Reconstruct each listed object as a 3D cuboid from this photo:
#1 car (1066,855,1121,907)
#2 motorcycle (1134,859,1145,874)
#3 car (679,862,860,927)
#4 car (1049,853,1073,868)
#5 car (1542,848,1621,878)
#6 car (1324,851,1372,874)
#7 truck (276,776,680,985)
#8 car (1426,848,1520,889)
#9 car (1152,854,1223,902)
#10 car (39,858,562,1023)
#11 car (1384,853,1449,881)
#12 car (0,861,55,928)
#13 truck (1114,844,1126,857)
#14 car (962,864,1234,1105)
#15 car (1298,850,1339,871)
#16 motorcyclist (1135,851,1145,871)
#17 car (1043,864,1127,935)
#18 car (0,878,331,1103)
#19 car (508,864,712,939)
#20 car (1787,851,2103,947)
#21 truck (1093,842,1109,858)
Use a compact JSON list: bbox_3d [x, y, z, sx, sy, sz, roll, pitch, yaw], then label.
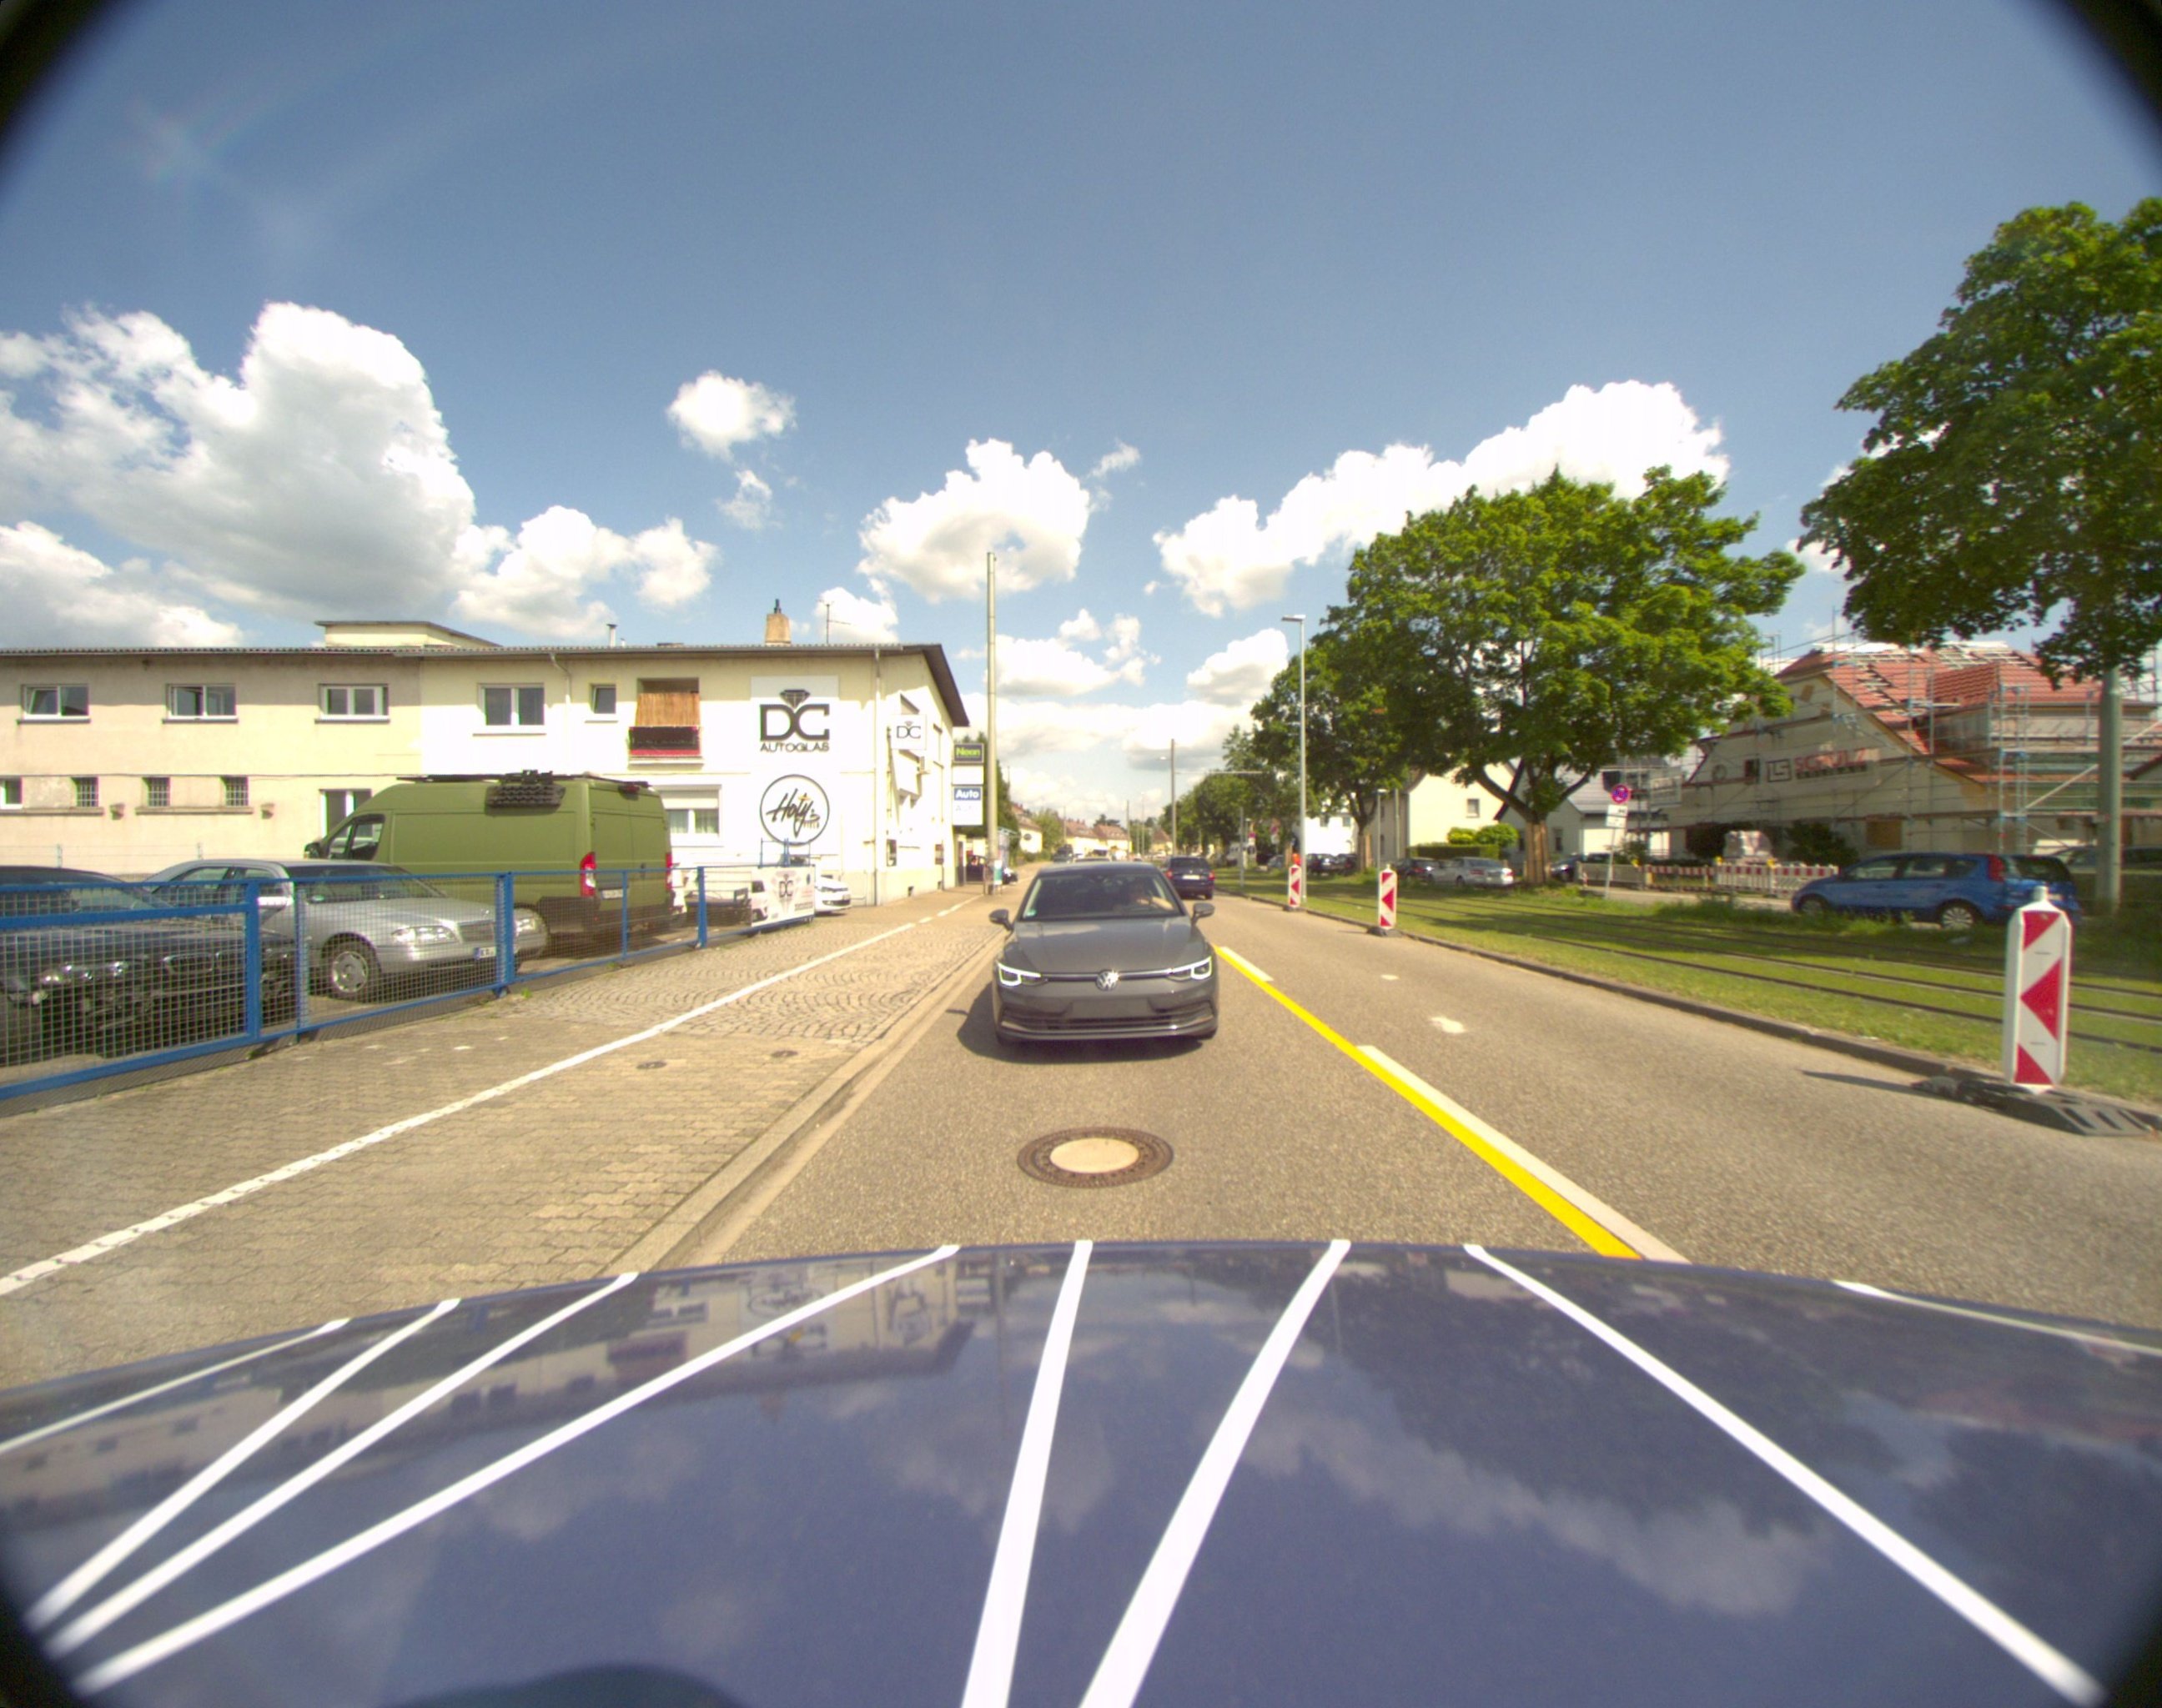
[{"bbox_3d":[0.408,0.809,24.432,1.594,1.418,3.707,-2,1,1],"label":"car"},{"bbox_3d":[4.225,0.879,54.968,0.706,1.036,2.465,0,1,1],"label":"motorcycle"},{"bbox_3d":[-7.487,0.965,18.467,3.725,1.350,1.518,-2,1,4],"label":"car"},{"bbox_3d":[-1.921,0.633,74.799,1.823,1.412,4.002,0,0,7],"label":"car"},{"bbox_3d":[25.107,0.461,38.253,3.238,1.375,1.490,-2,1,31],"label":"car"},{"bbox_3d":[16.807,0.522,48.011,1.636,1.294,3.999,-2,1,1],"label":"car"},{"bbox_3d":[-8.649,0.355,11.247,4.181,2.645,2.108,-2,1,2],"label":"truck"},{"bbox_3d":[16.611,0.560,32.480,1.707,1.504,4.523,-2,1,1],"label":"car"},{"bbox_3d":[3.593,0.763,26.402,1.715,1.478,4.535,1,0,-1],"label":"car"},{"bbox_3d":[-8.438,0.895,8.416,4.257,1.499,1.828,-2,1,8],"label":"car"},{"bbox_3d":[16.872,0.628,38.361,1.624,1.235,3.786,-2,1,1],"label":"car"},{"bbox_3d":[-21.231,0.825,13.503,1.453,1.254,3.276,-2,1,1],"label":"car"},{"bbox_3d":[8.719,-0.767,169.627,2.665,2.787,7.539,-2,1,3],"label":"truck"},{"bbox_3d":[0.171,0.895,7.180,1.743,1.410,4.380,-2,1,2],"label":"car"},{"bbox_3d":[16.830,0.426,54.009,1.636,1.294,3.999,-2,1,1],"label":"car"},{"bbox_3d":[4.258,0.505,54.937,0.651,1.434,0.588,0,1,1],"label":"motorcyclist"},{"bbox_3d":[0.127,0.896,16.408,1.555,1.217,3.729,-2,1,2],"label":"car"},{"bbox_3d":[-8.765,0.954,6.006,4.257,1.366,1.741,-1,1,8],"label":"car"},{"bbox_3d":[-8.817,0.864,14.367,3.033,1.267,1.332,1,1,2],"label":"car"},{"bbox_3d":[16.342,0.747,14.725,1.672,1.504,3.930,-2,1,1],"label":"car"},{"bbox_3d":[4.092,-0.837,153.442,2.631,2.872,7.925,-2,1,4],"label":"truck"}]
